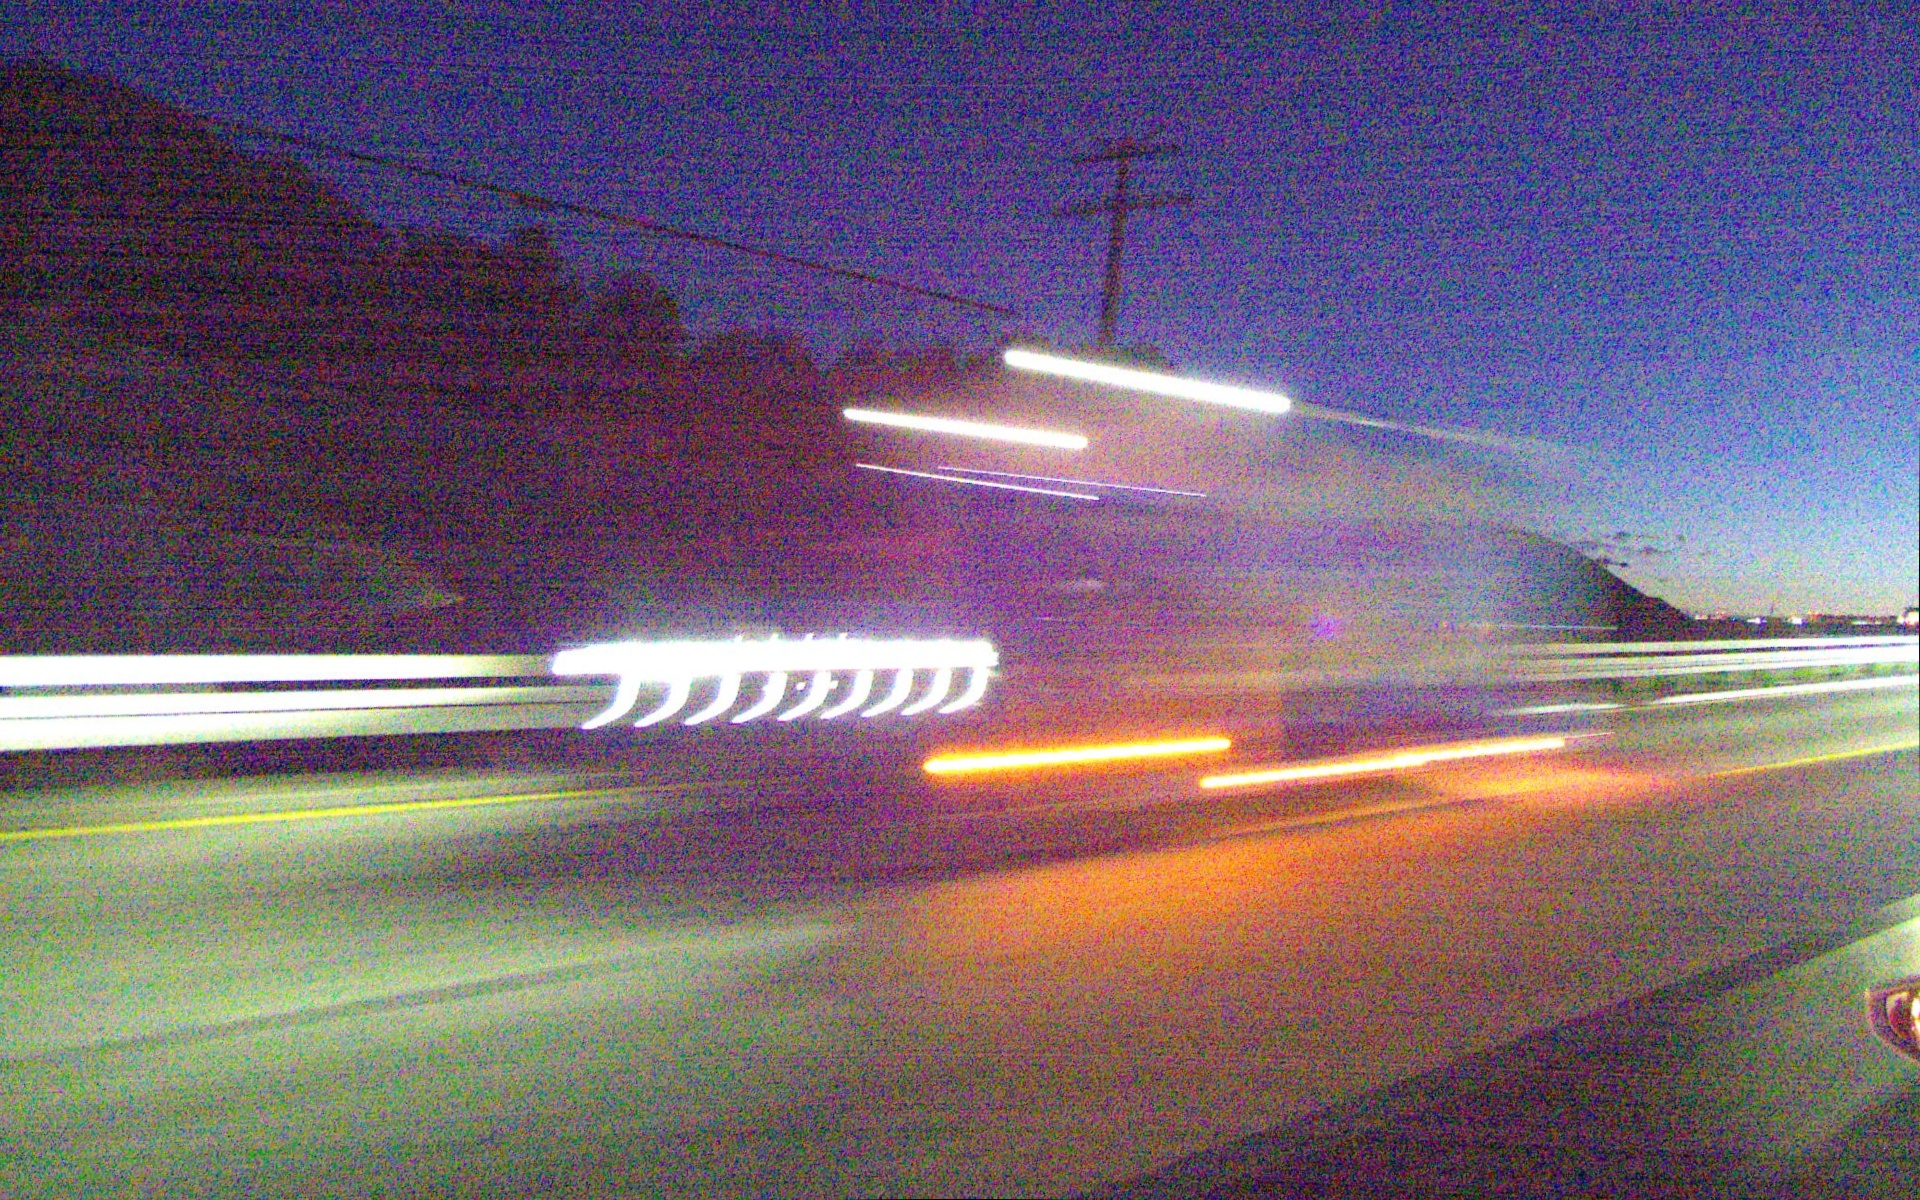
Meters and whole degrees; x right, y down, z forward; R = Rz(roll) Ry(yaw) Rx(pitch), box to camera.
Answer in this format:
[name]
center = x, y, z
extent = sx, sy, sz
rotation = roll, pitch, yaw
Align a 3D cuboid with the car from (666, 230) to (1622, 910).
[car]
center = 1.780, -0.057, 7.598
extent = 7.300, 3.146, 2.474
rotation = 1, -1, -31
